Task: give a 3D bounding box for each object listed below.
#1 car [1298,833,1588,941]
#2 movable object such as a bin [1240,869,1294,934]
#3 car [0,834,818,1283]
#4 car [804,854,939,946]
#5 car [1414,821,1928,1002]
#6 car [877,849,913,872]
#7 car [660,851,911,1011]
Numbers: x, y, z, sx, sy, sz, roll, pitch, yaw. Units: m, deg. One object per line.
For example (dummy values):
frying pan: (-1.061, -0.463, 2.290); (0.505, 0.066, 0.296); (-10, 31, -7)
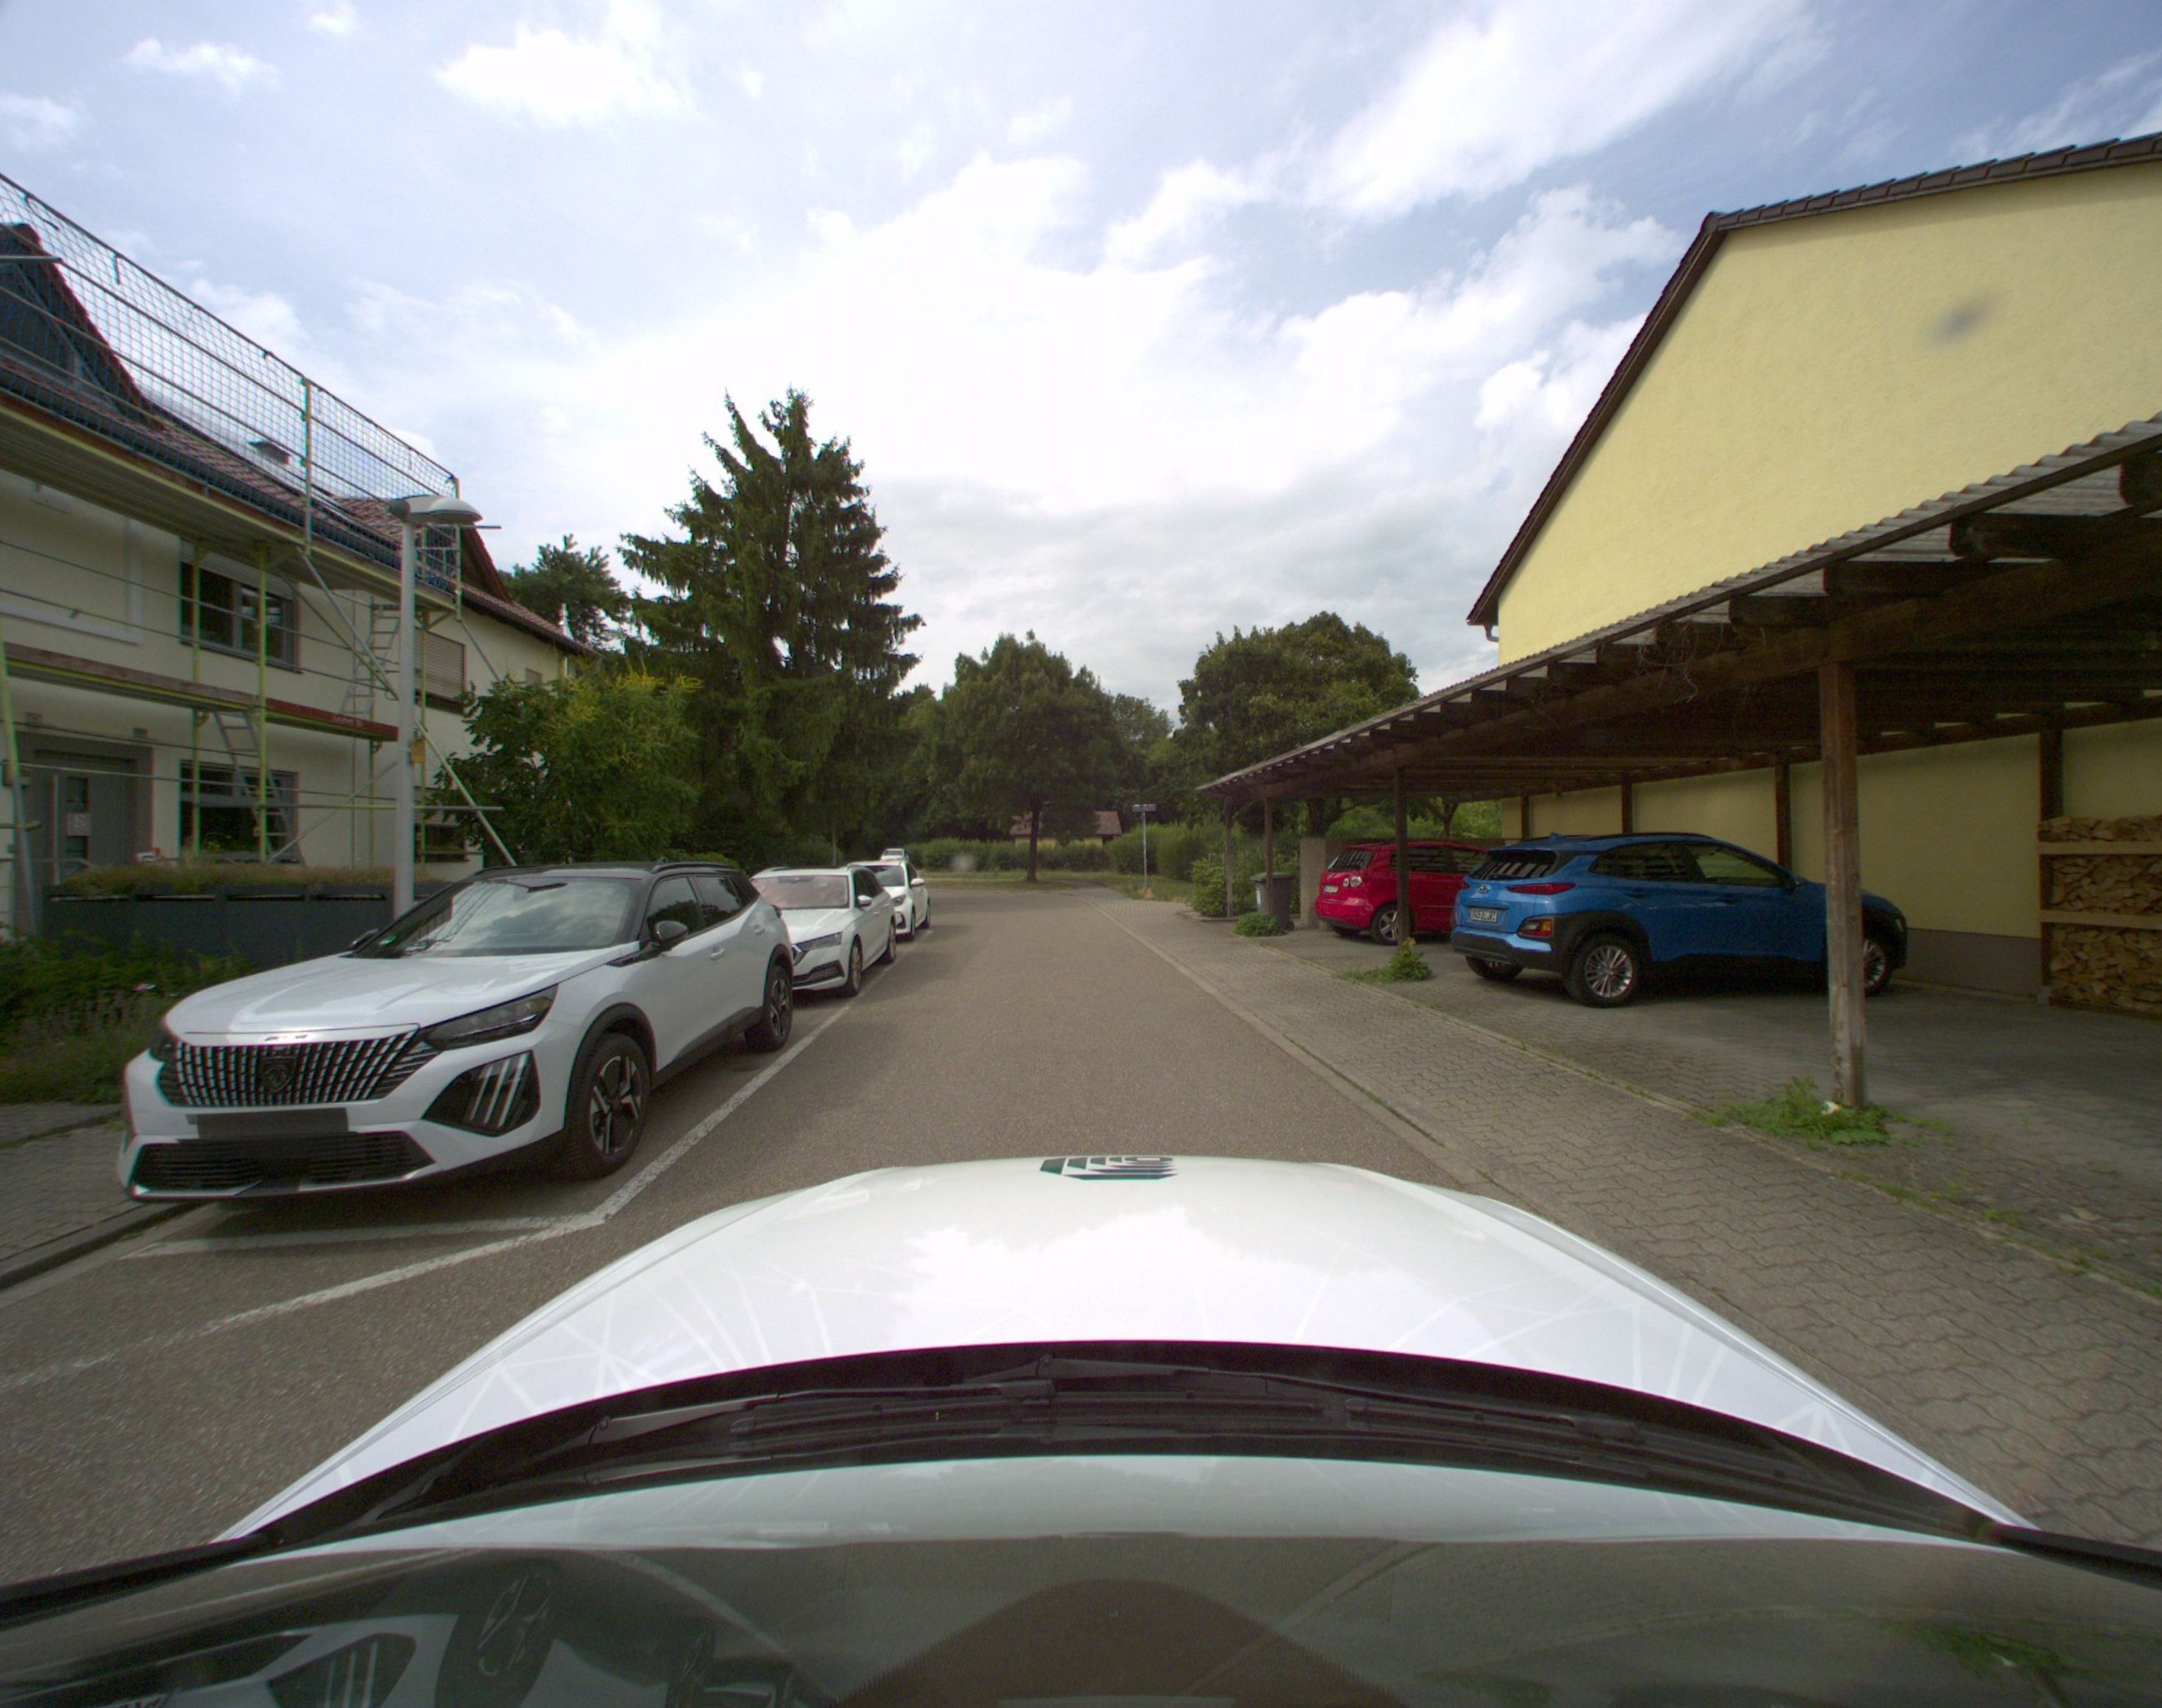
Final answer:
car: (5.789, 0.480, 13.284); (3.953, 1.540, 1.835); (-1, 0, -7)
movable object such as a bin: (3.257, 0.816, 14.318); (0.698, 1.072, 0.710); (-2, 0, -8)
car: (-3.300, 0.722, 5.244); (1.930, 1.556, 4.628); (-1, 0, -4)
car: (-3.960, 0.784, 16.068); (1.788, 1.531, 4.134); (-1, 0, -4)
car: (5.829, 0.495, 8.357); (4.042, 1.522, 1.946); (-1, 0, -7)
car: (-13.918, 0.445, 61.151); (1.934, 1.660, 4.335); (-1, 0, -4)
car: (-3.476, 0.766, 10.639); (1.807, 1.562, 4.840); (-1, 0, -4)
